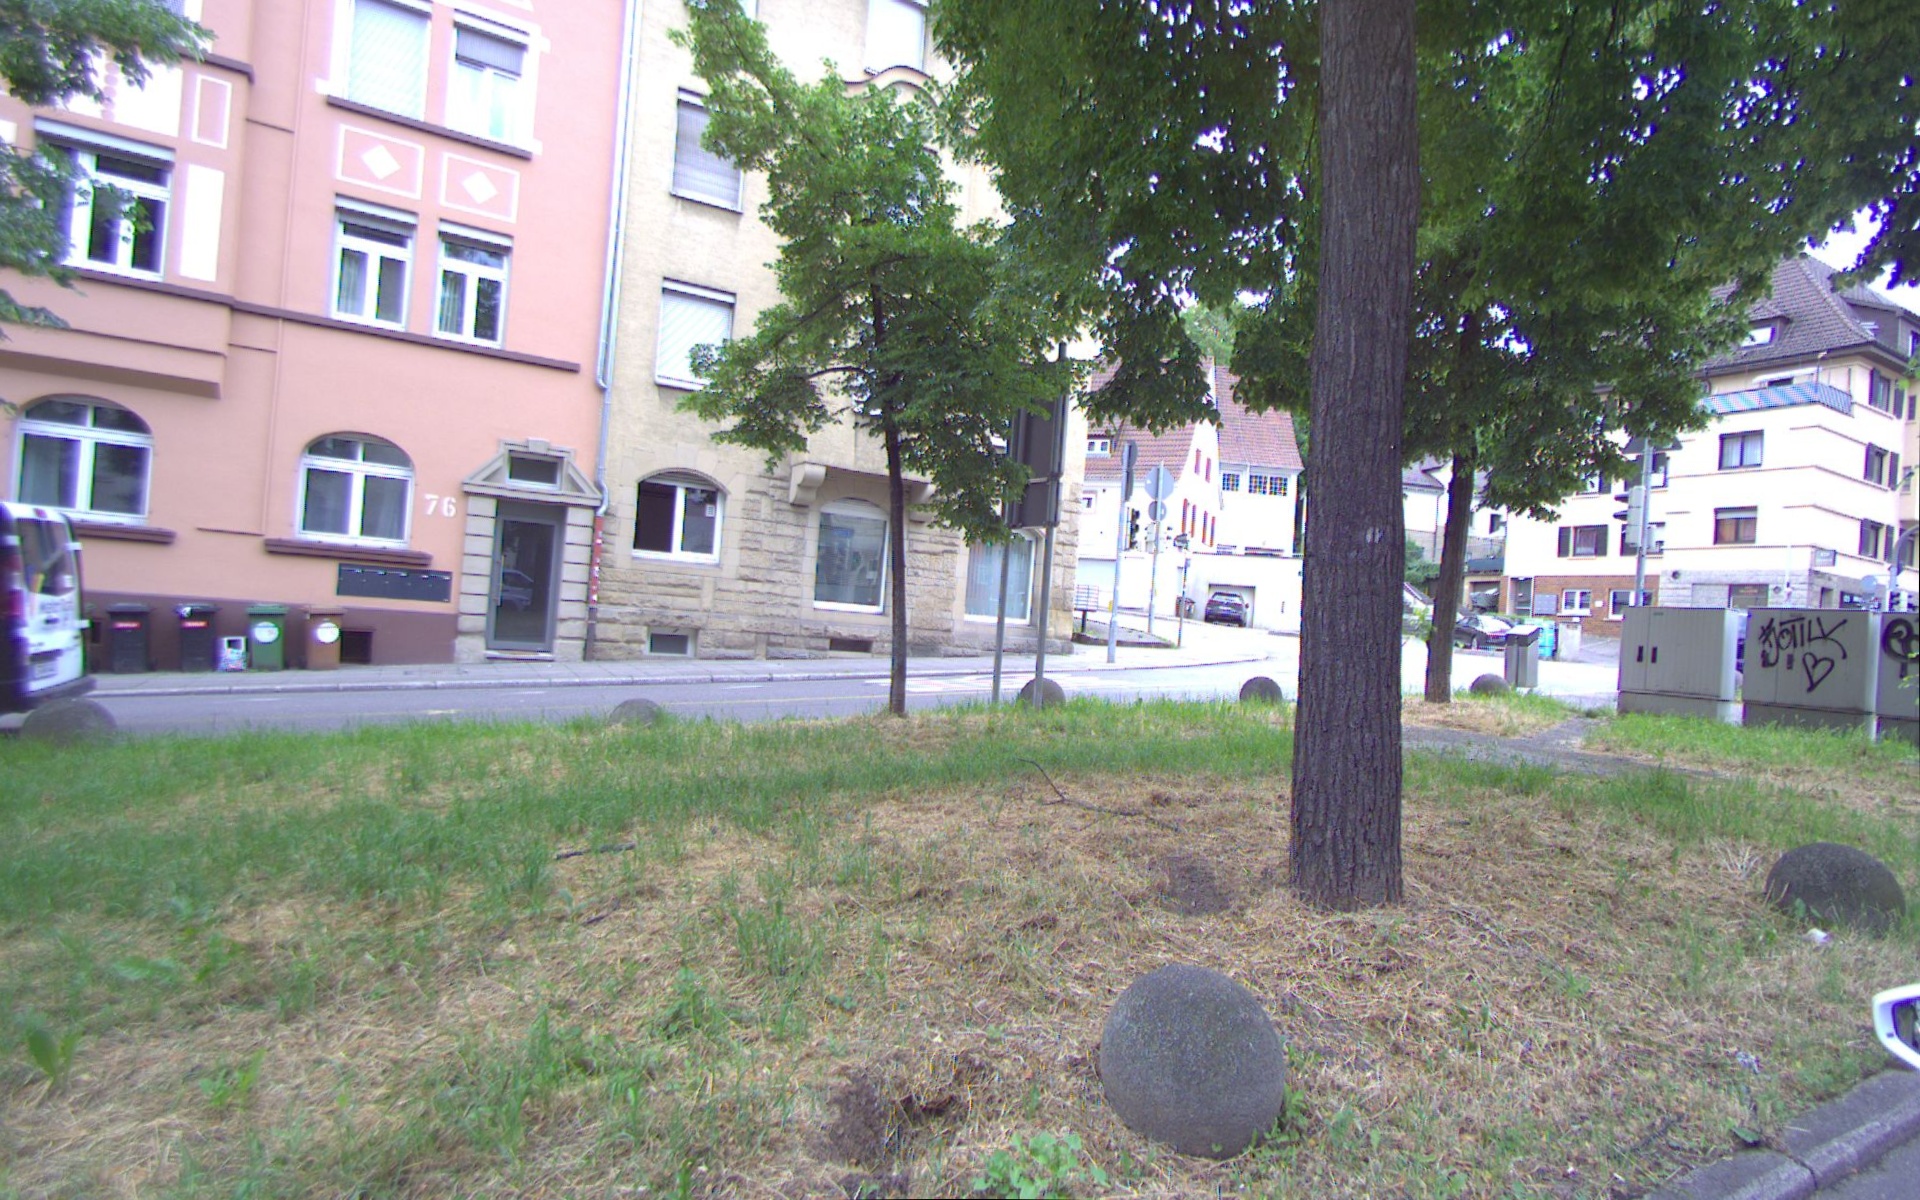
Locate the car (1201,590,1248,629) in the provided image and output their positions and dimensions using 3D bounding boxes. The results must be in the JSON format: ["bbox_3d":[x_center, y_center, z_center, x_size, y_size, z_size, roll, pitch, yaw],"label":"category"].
[{"bbox_3d":[11.757,0.378,44.794,1.638,1.424,3.058,7,3,11],"label":"car"}]

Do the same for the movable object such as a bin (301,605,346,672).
[{"bbox_3d":[-9.249,0.547,14.587,0.510,0.934,0.752,2,0,-34],"label":"movable object such as a bin"}]

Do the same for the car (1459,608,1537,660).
[{"bbox_3d":[21.946,1.334,41.119,1.832,1.619,3.519,2,6,13],"label":"car"}]

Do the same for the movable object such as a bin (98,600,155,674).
[{"bbox_3d":[-11.165,0.483,13.469,0.528,0.958,0.576,2,0,-36],"label":"movable object such as a bin"}]

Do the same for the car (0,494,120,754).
[{"bbox_3d":[-9.778,0.121,7.341,5.242,1.971,1.985,1,1,-29],"label":"car"}]

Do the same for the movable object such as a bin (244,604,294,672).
[{"bbox_3d":[-9.794,0.529,14.251,0.554,0.934,0.649,2,0,-34],"label":"movable object such as a bin"}]
